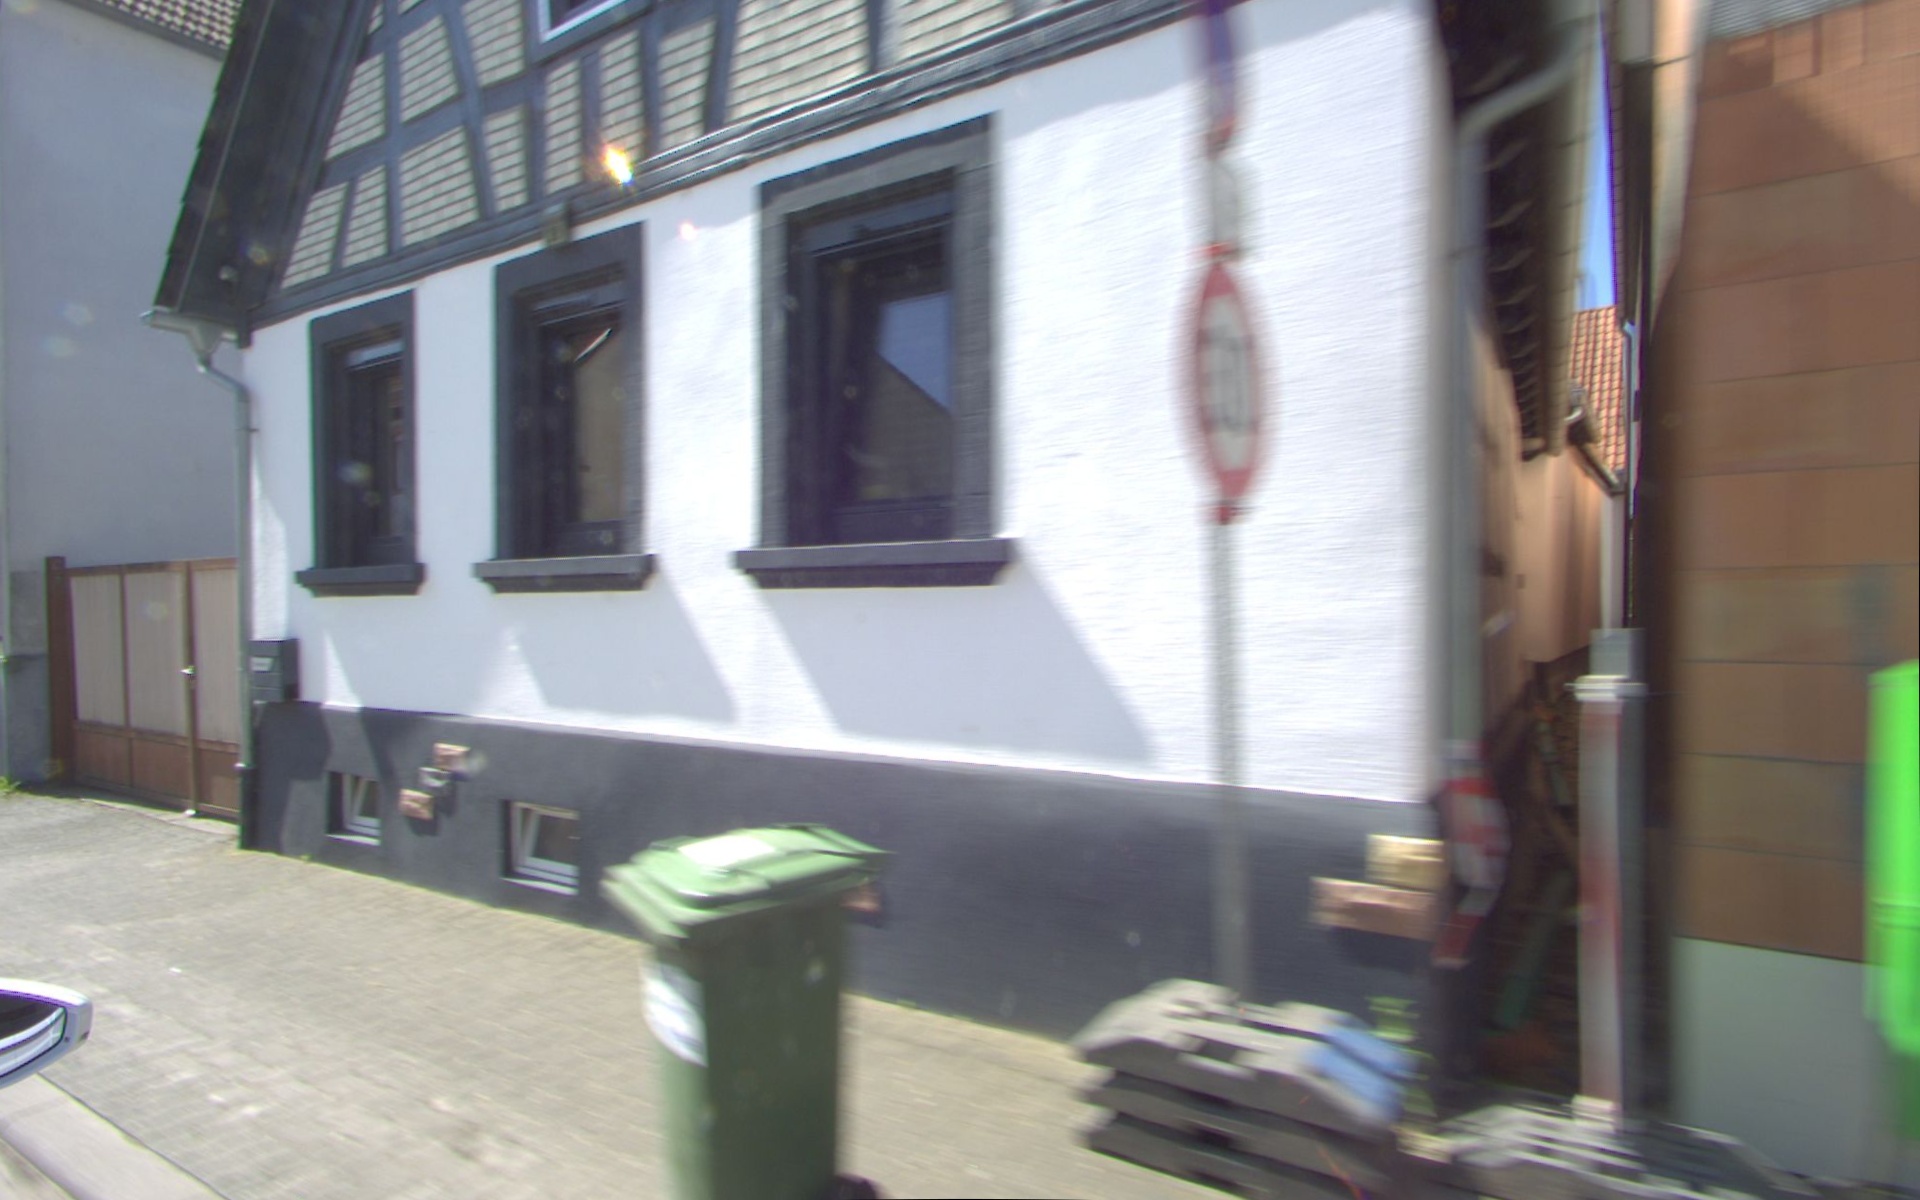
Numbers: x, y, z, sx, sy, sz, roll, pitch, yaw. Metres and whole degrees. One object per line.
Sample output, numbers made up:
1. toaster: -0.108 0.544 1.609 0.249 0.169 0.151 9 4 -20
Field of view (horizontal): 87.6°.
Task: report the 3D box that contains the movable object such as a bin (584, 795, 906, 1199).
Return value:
1. movable object such as a bin: -0.502 0.984 2.321 0.534 0.926 0.547 -1 0 -41
